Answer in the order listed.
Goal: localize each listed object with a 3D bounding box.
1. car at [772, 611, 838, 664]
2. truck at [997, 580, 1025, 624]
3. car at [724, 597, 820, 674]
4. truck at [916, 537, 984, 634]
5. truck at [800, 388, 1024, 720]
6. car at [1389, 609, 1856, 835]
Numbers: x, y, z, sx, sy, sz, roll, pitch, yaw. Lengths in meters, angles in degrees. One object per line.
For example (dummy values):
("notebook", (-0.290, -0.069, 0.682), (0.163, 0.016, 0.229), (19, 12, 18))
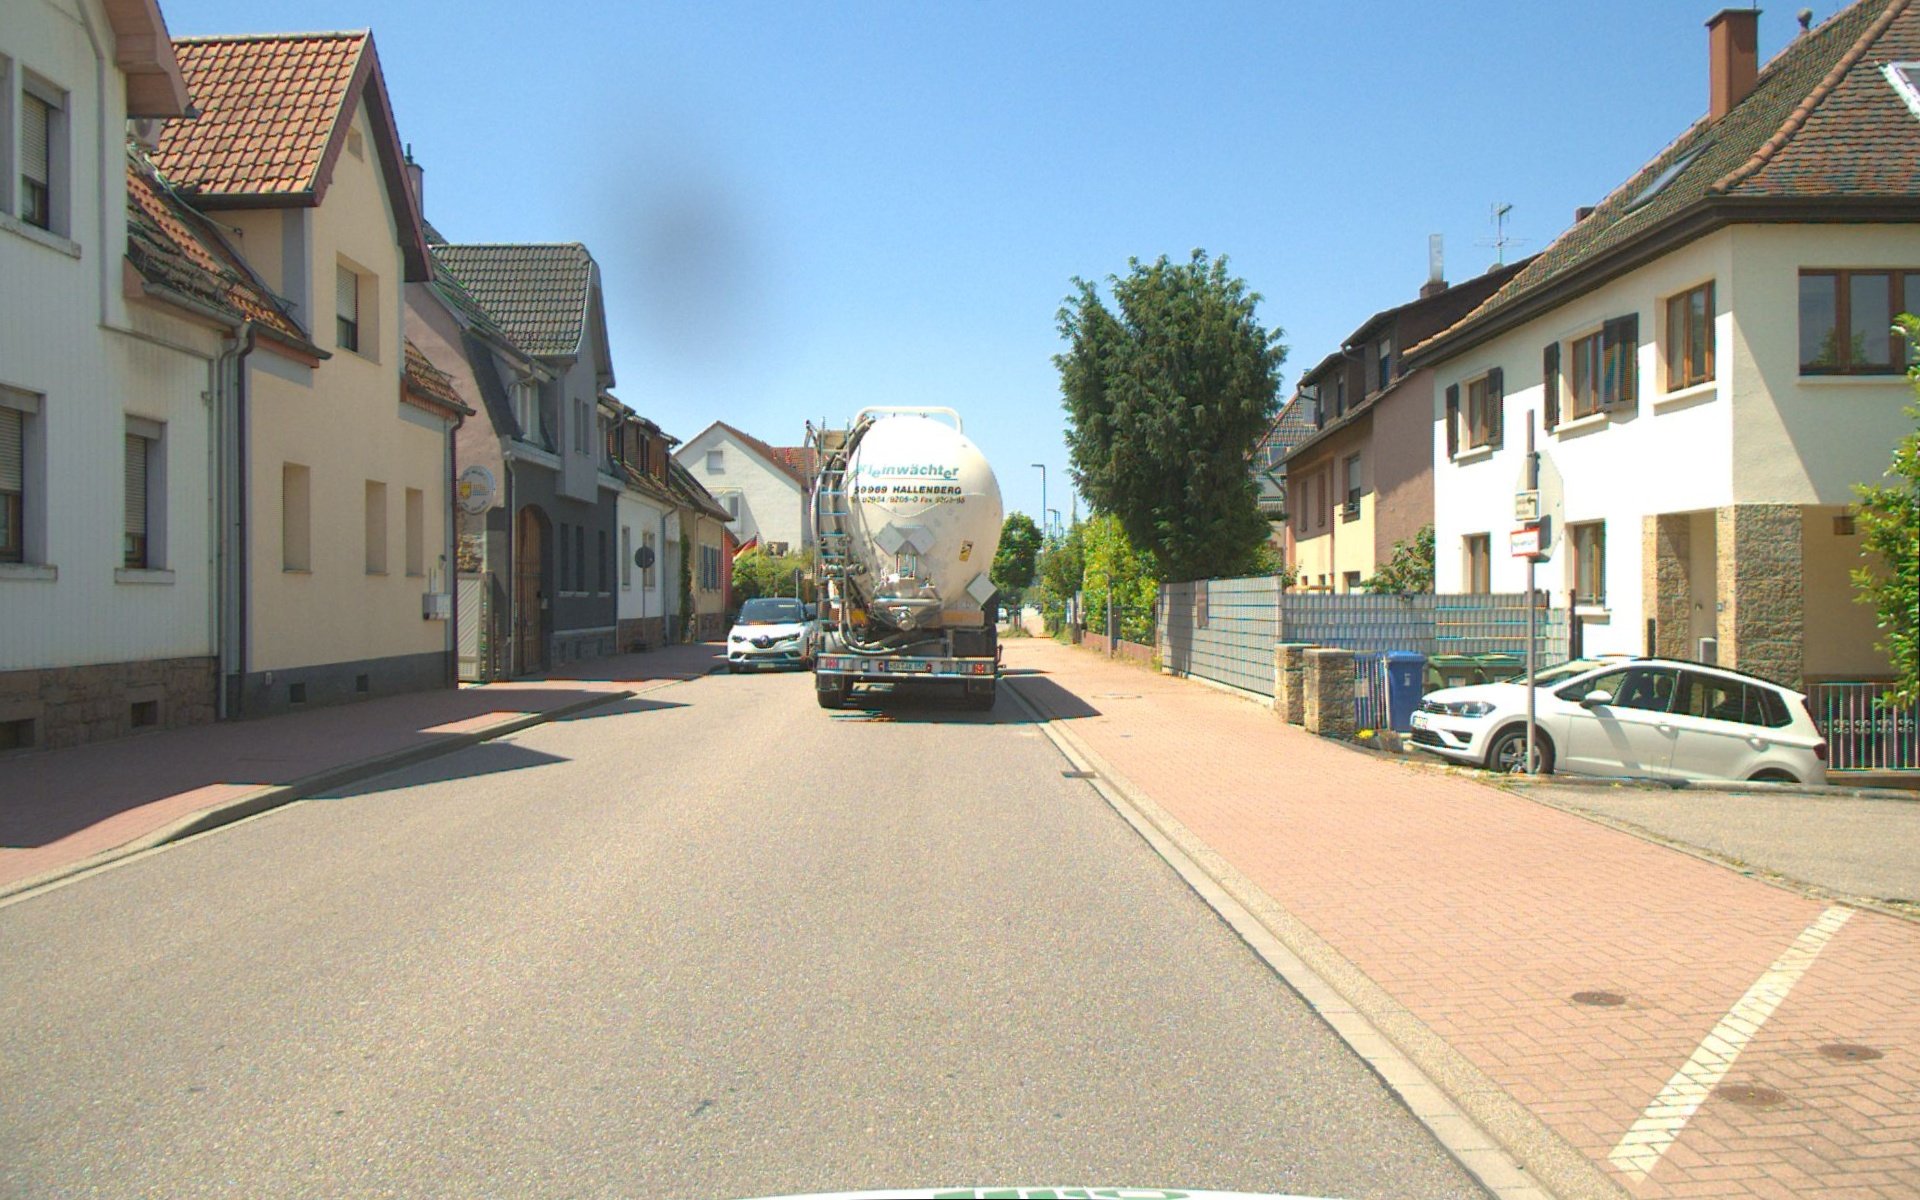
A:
("car", (-4.885, 1.169, 52.704), (1.814, 1.532, 4.103), (-3, 0, -2))
("truck", (3.895, 0.164, 126.546), (1.952, 3.192, 9.449), (2, 0, 1))
("car", (-4.321, 0.785, 38.545), (1.814, 1.599, 4.253), (-3, 0, -2))
("truck", (-0.371, -0.583, 73.826), (2.676, 4.029, 8.143), (1, -1, 2))
("truck", (-0.722, -0.520, 24.373), (2.677, 4.029, 8.138), (1, -1, -2))
("car", (6.999, 1.253, 17.793), (4.090, 1.613, 1.906), (10, -1, -1))
